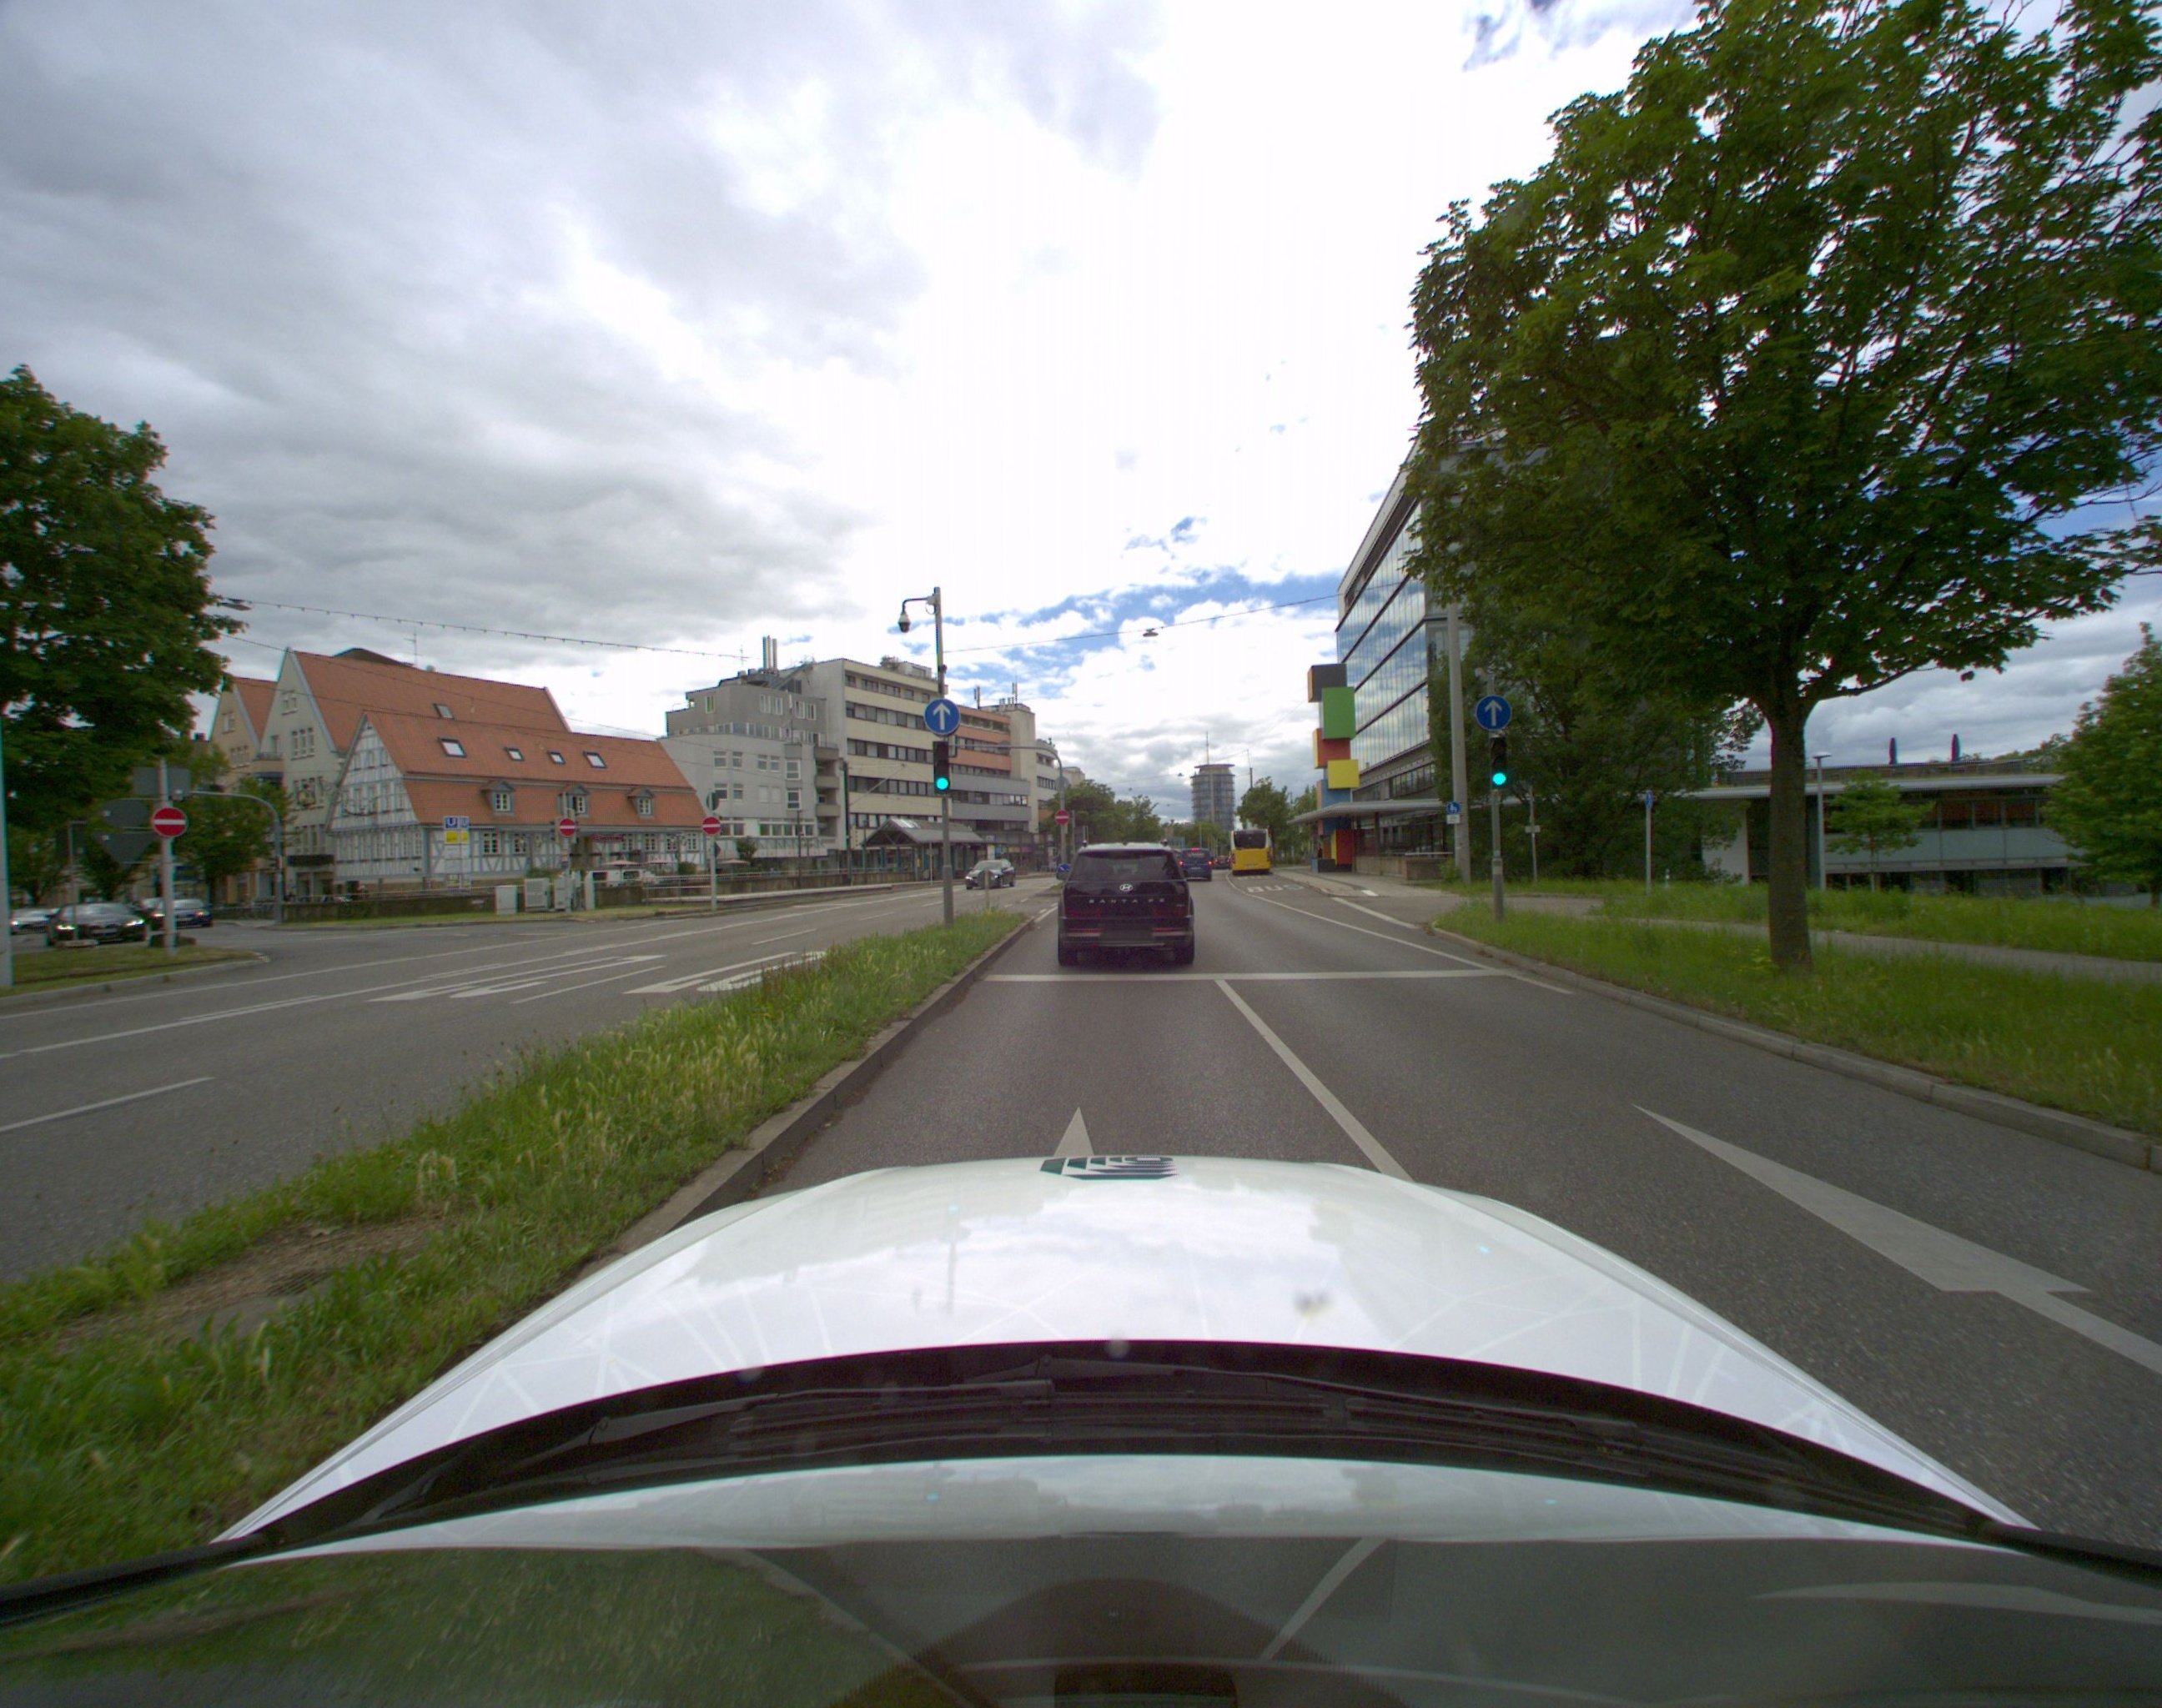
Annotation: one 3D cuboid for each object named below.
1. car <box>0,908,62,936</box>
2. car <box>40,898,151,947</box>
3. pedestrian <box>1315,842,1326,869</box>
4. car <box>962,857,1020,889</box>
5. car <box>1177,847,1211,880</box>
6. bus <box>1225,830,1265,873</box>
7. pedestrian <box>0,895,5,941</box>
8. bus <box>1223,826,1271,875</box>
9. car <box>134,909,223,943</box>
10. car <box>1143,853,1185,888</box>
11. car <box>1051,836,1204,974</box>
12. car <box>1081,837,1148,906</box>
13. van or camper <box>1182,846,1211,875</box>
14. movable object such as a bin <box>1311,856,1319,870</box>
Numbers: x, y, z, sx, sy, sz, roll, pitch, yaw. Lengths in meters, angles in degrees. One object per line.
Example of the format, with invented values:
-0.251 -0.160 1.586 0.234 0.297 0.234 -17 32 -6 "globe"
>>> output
-59.247 3.795 45.792 3.860 1.295 2.000 -2 0 33 "car"
-32.689 2.224 26.982 4.622 1.380 1.838 -2 0 33 "car"
14.939 0.113 50.865 0.521 1.673 0.735 -2 -1 10 "pedestrian"
-4.484 0.937 41.332 1.788 1.455 4.623 -2 0 8 "car"
6.659 0.515 48.047 1.892 1.859 4.719 0 1 7 "car"
13.616 -0.189 67.858 2.933 3.111 10.006 -3 -1 11 "bus"
-40.100 2.371 29.727 0.847 1.670 0.881 -3 -1 42 "pedestrian"
11.877 -0.208 58.476 2.947 3.116 9.271 -3 -1 11 "bus"
-40.599 3.218 36.634 3.860 1.295 1.999 -2 0 32 "car"
4.030 0.766 40.158 1.894 1.542 4.714 0 1 4 "car"
0.521 0.618 12.617 1.898 1.731 4.441 0 1 -3 "car"
0.964 0.479 25.841 1.896 1.969 4.634 0 1 -1 "car"
8.578 0.452 60.992 1.983 1.917 4.417 -1 1 6 "van or camper"
14.455 0.554 50.316 0.354 0.898 0.463 -2 -1 10 "movable object such as a bin"
